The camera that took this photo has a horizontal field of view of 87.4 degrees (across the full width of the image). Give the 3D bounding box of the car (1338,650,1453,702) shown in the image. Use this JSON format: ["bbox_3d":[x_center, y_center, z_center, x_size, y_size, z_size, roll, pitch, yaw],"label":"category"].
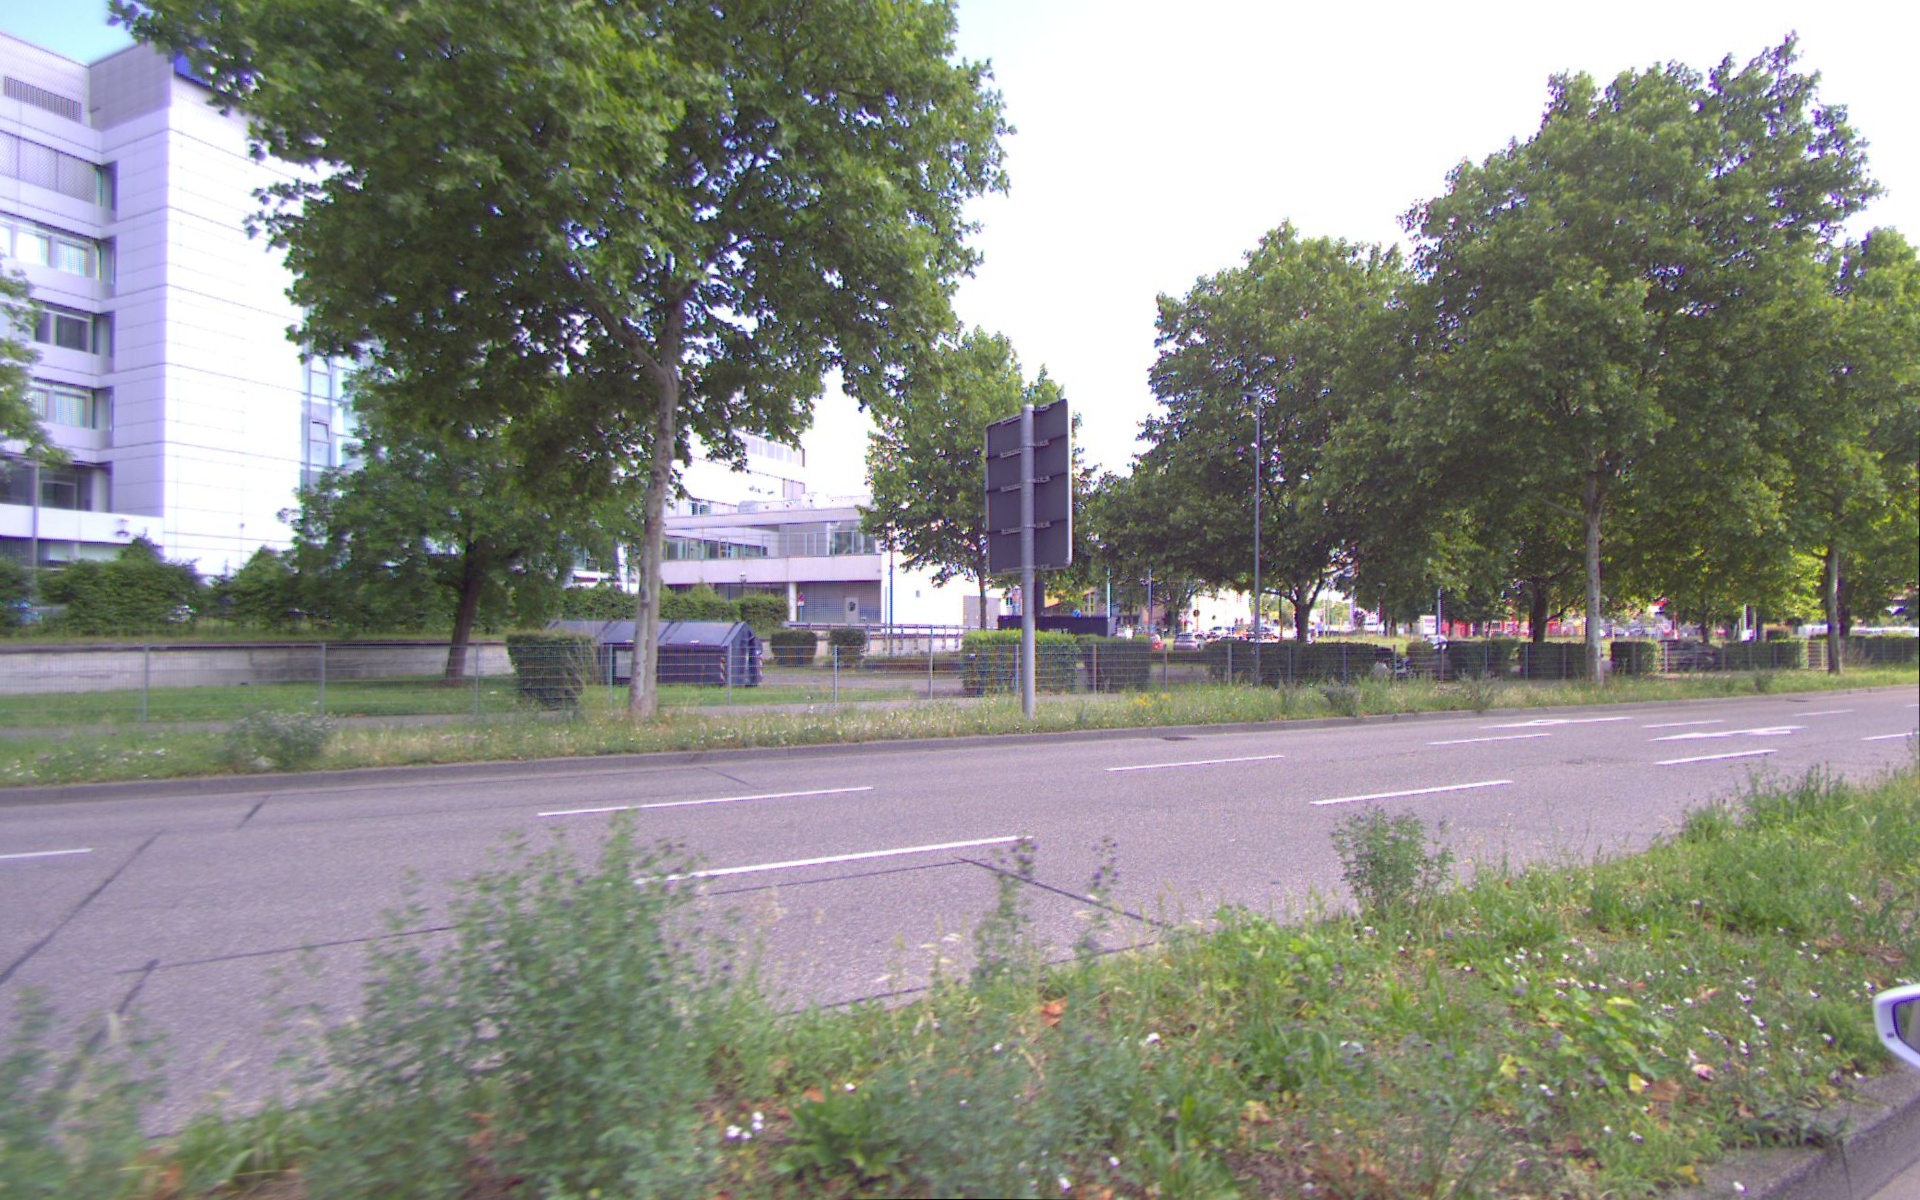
[{"bbox_3d":[15.929,2.789,36.724,3.955,1.616,1.883,5,-3,-30],"label":"car"}]
